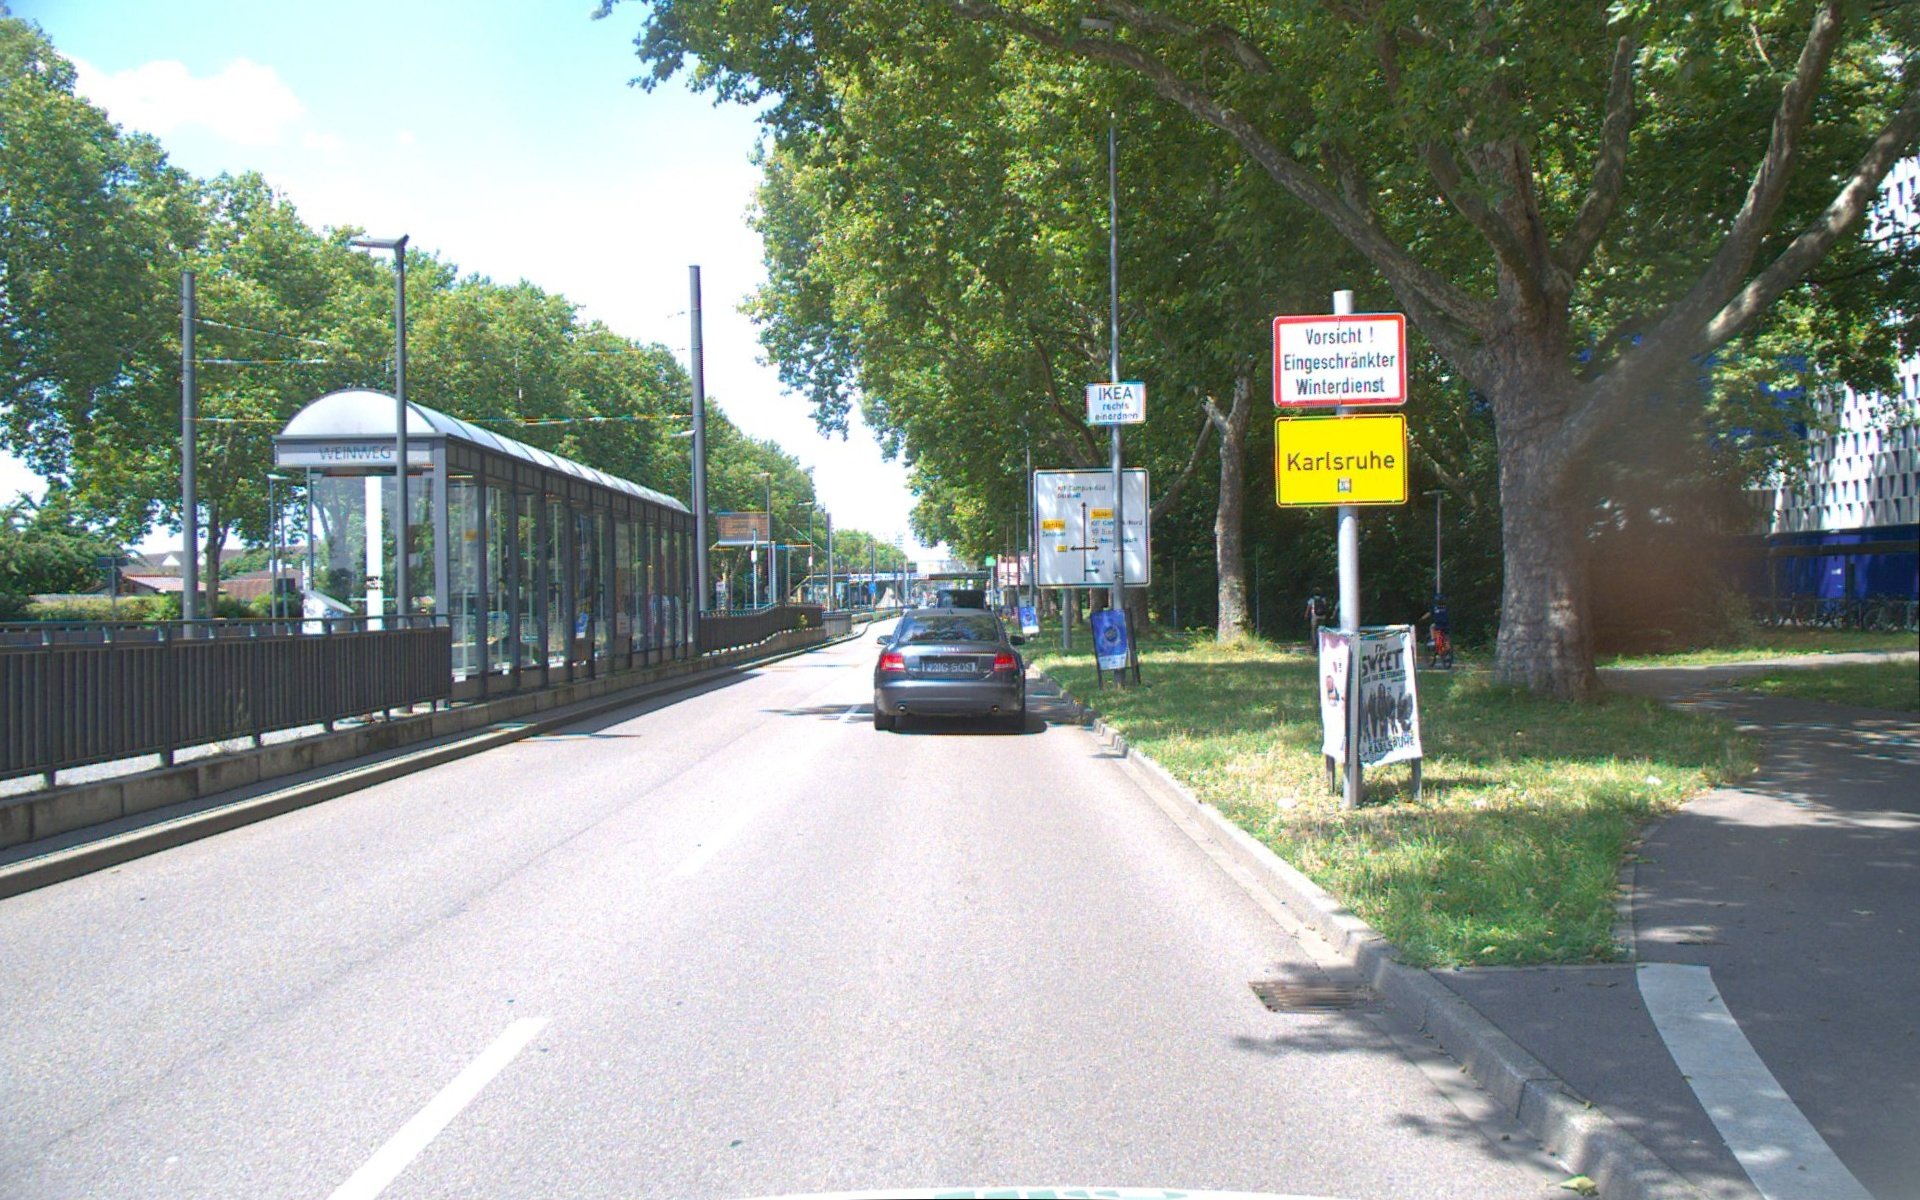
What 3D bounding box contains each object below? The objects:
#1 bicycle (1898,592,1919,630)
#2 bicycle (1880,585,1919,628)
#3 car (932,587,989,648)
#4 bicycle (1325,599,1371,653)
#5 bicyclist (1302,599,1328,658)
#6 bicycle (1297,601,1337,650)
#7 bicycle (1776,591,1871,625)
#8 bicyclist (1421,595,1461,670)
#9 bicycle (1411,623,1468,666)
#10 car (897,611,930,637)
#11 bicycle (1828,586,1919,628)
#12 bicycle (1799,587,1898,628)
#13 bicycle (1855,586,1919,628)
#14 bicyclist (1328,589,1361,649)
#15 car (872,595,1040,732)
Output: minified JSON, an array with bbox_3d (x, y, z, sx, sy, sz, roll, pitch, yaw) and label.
[{"bbox_3d":[25.727,0.277,43.048,2.270,0.977,0.758,-1,0,-5],"label":"bicycle"},{"bbox_3d":[26.022,0.160,44.216,2.495,1.130,0.758,-1,0,-5],"label":"bicycle"},{"bbox_3d":[0.047,0.604,56.790,1.810,1.994,4.145,0,-1,2],"label":"car"},{"bbox_3d":[10.713,0.699,45.709,0.598,1.445,2.661,-1,0,0],"label":"bicycle"},{"bbox_3d":[10.838,0.854,50.486,0.585,1.776,0.843,0,0,0],"label":"bicyclist"},{"bbox_3d":[10.854,0.772,50.321,0.598,1.445,2.661,-1,0,0],"label":"bicycle"},{"bbox_3d":[25.600,0.231,49.048,2.495,0.987,0.758,-1,0,-5],"label":"bicycle"},{"bbox_3d":[10.665,0.713,36.670,0.610,1.638,0.816,-1,0,-3],"label":"bicyclist"},{"bbox_3d":[10.652,0.983,36.792,0.632,0.902,2.022,-1,0,-1],"label":"bicycle"},{"bbox_3d":[-2.688,1.385,95.739,1.808,1.490,3.998,-1,-1,-2],"label":"car"},{"bbox_3d":[25.830,0.194,46.508,2.495,1.130,0.758,-1,0,-5],"label":"bicycle"},{"bbox_3d":[25.655,0.212,47.778,2.495,1.130,0.758,-1,0,-5],"label":"bicycle"},{"bbox_3d":[25.917,0.175,45.281,2.495,1.130,0.758,-1,0,-5],"label":"bicycle"},{"bbox_3d":[10.649,0.521,45.849,0.645,1.627,1.053,-1,-1,0],"label":"bicyclist"},{"bbox_3d":[-0.146,0.702,20.482,1.806,1.510,3.997,-1,0,-4],"label":"car"}]
